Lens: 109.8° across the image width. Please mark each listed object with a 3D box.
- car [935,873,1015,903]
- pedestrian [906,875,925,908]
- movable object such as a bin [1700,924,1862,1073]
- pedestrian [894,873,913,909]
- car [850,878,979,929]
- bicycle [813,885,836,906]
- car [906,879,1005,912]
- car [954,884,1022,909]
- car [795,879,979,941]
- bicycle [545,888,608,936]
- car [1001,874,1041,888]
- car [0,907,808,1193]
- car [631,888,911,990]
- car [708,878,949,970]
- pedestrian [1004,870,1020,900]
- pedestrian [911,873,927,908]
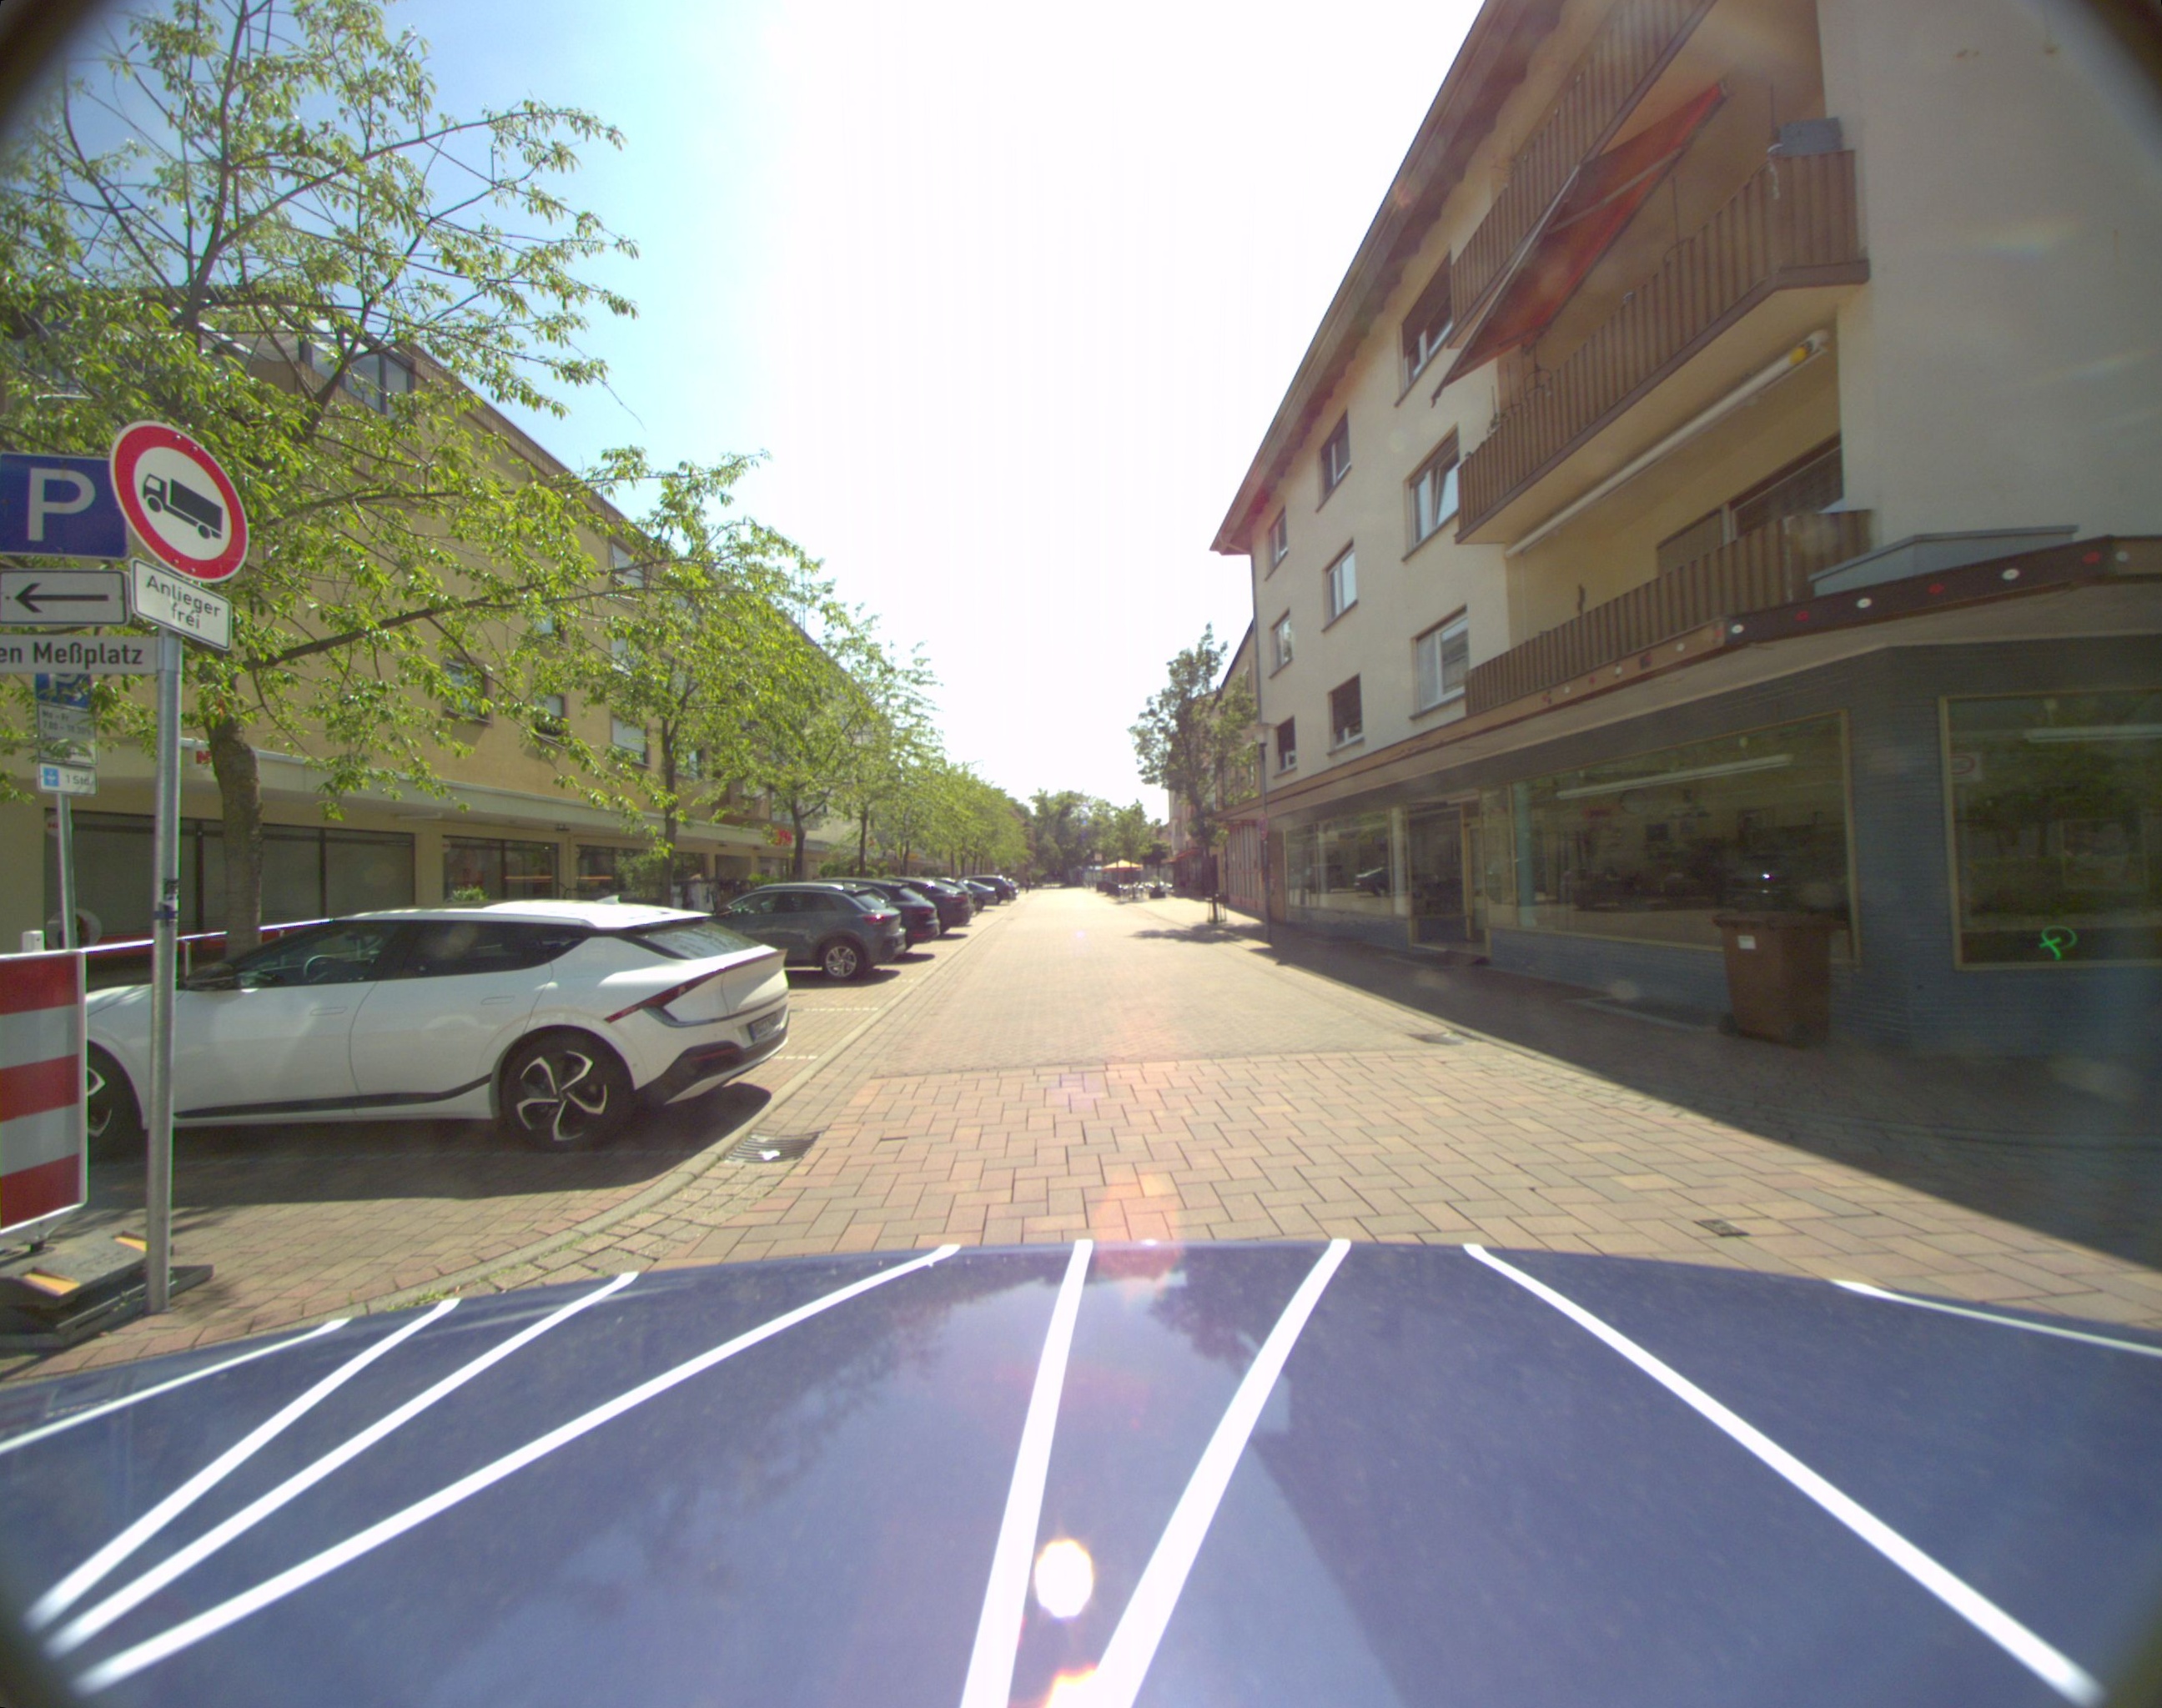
[{"bbox_3d":[-5.886,1.889,42.556,4.255,1.608,1.757,0,-1,-3],"label":"car"},{"bbox_3d":[-8.731,1.985,40.081,0.614,1.720,0.649,-3,0,32],"label":"pedestrian"},{"bbox_3d":[5.682,1.142,6.200,0.657,1.064,0.663,-3,-1,-9],"label":"movable object such as a bin"},{"bbox_3d":[-9.009,1.881,38.587,0.633,1.762,0.685,-2,-1,-40],"label":"pedestrian"},{"bbox_3d":[-5.516,1.627,25.544,4.038,1.602,1.681,0,-1,-3],"label":"car"},{"bbox_3d":[-13.788,2.219,40.868,0.643,1.075,1.866,-3,-1,-2],"label":"bicycle"},{"bbox_3d":[-6.020,1.966,36.469,4.391,1.454,1.888,0,-1,-20],"label":"car"},{"bbox_3d":[-6.559,3.005,53.944,4.587,1.534,1.807,-2,-1,-2],"label":"car"},{"bbox_3d":[-5.172,1.486,20.688,4.519,1.579,1.851,-1,-1,0],"label":"car"},{"bbox_3d":[-13.174,1.482,19.880,0.413,1.117,1.774,-3,-1,0],"label":"bicycle"},{"bbox_3d":[-6.937,3.157,87.938,4.336,1.459,1.777,-2,-1,2],"label":"car"},{"bbox_3d":[-4.487,1.209,5.385,4.452,1.566,1.789,0,-1,-2],"label":"car"},{"bbox_3d":[-5.008,1.363,12.731,3.955,1.524,1.824,0,-1,-3],"label":"car"},{"bbox_3d":[-4.997,1.358,15.586,4.291,1.671,2.000,-1,-1,-4],"label":"car"},{"bbox_3d":[-4.254,1.907,46.745,0.759,1.770,0.871,-2,-1,5],"label":"pedestrian"},{"bbox_3d":[-8.324,1.875,39.086,0.607,1.785,0.626,-2,-1,-30],"label":"pedestrian"}]
